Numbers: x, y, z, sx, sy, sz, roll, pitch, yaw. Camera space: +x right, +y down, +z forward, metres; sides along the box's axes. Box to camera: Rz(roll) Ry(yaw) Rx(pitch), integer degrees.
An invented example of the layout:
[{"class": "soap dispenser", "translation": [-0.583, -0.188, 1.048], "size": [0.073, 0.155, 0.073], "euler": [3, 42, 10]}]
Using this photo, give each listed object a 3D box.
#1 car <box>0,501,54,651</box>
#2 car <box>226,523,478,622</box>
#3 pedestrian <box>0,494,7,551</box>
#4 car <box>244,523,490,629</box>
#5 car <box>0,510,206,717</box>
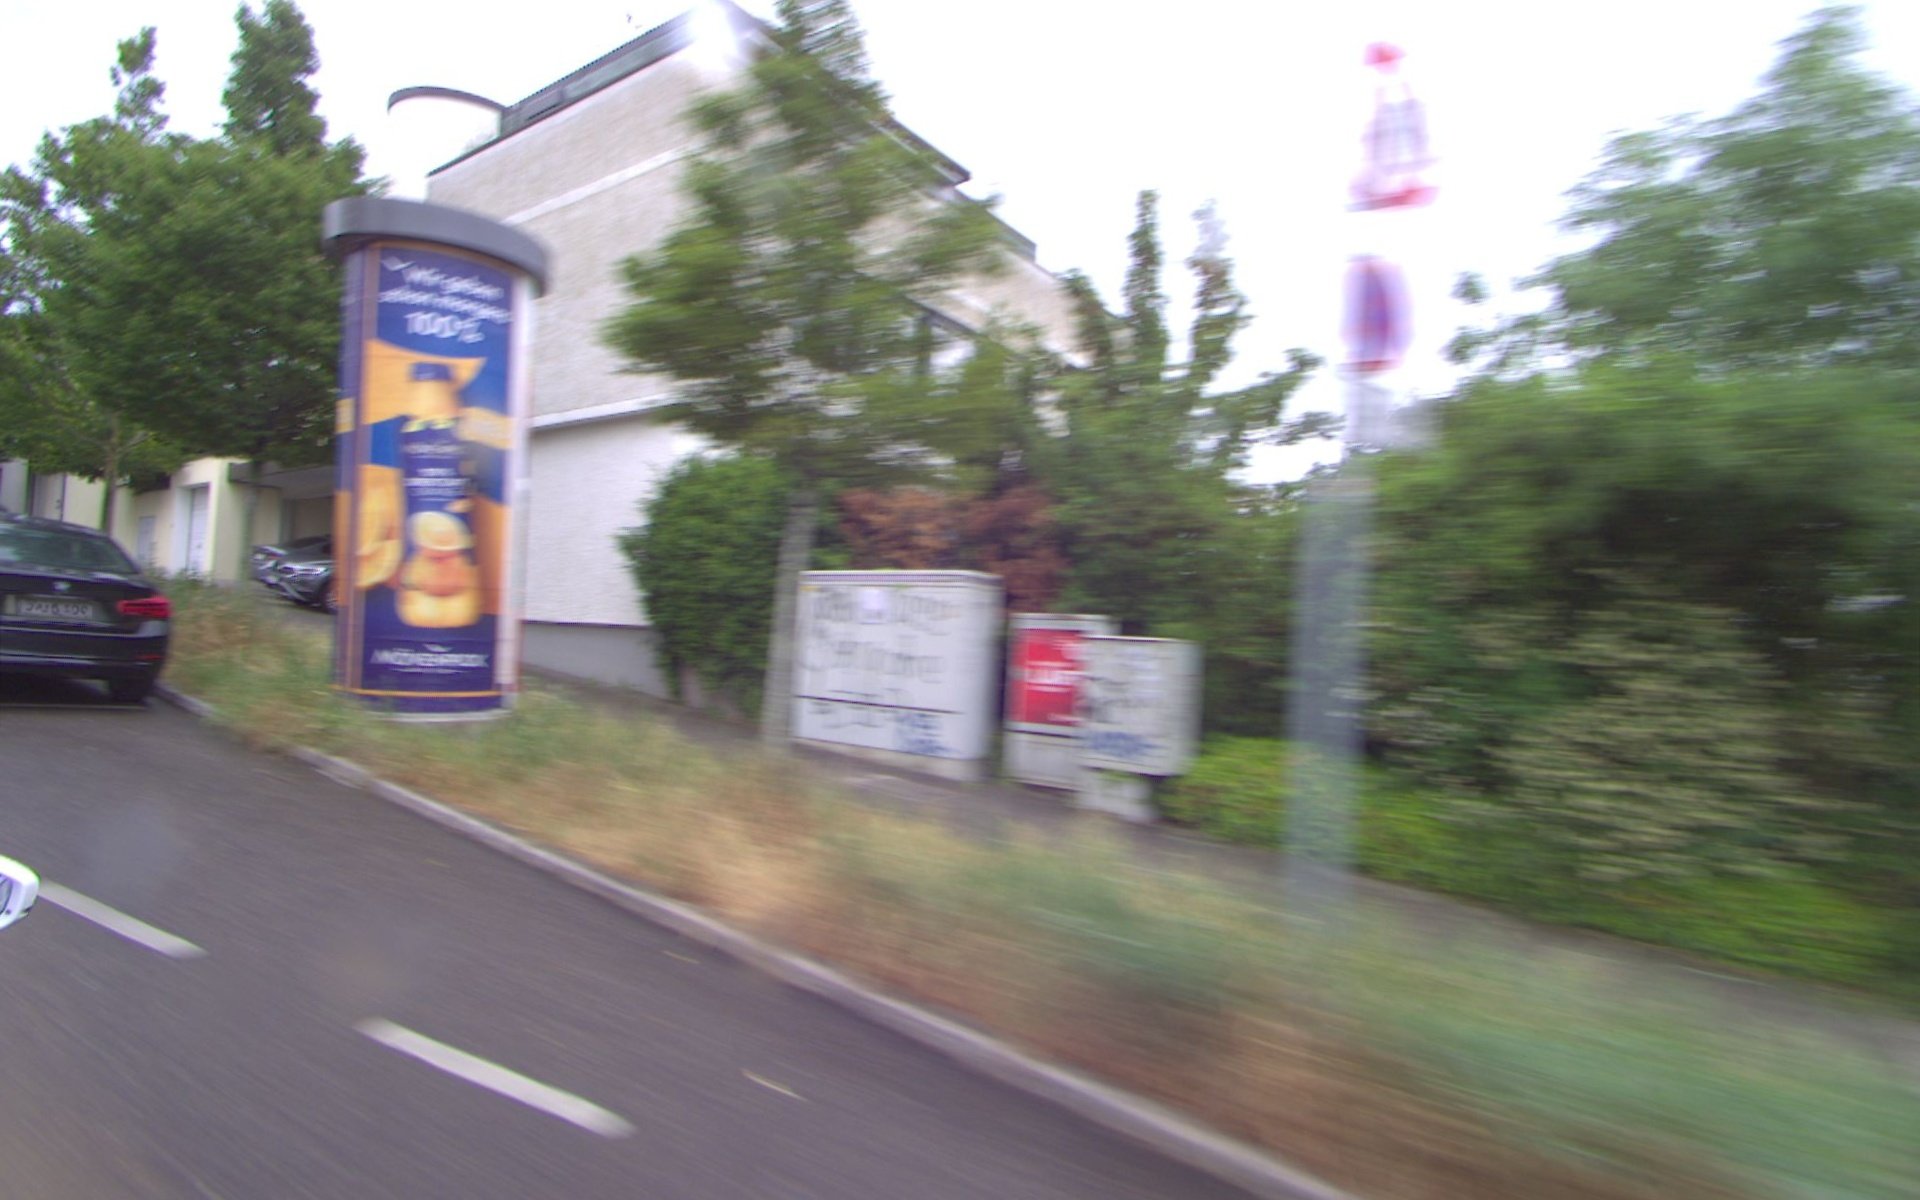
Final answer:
[{"class": "car", "translation": [-12.590, -0.495, 11.963], "size": [4.056, 1.625, 1.732], "euler": [6, -3, 36]}, {"class": "car", "translation": [-13.269, -0.547, 22.187], "size": [1.803, 1.497, 4.300], "euler": [6, -3, 38]}, {"class": "pedestrian", "translation": [-29.694, -2.414, 30.603], "size": [1.029, 1.708, 0.831], "euler": [6, 2, 39]}, {"class": "car", "translation": [-11.650, -0.431, 19.951], "size": [1.755, 1.524, 3.701], "euler": [6, -2, 38]}, {"class": "car", "translation": [-8.653, -0.071, 8.760], "size": [4.804, 1.455, 1.781], "euler": [6, -3, 34]}]
